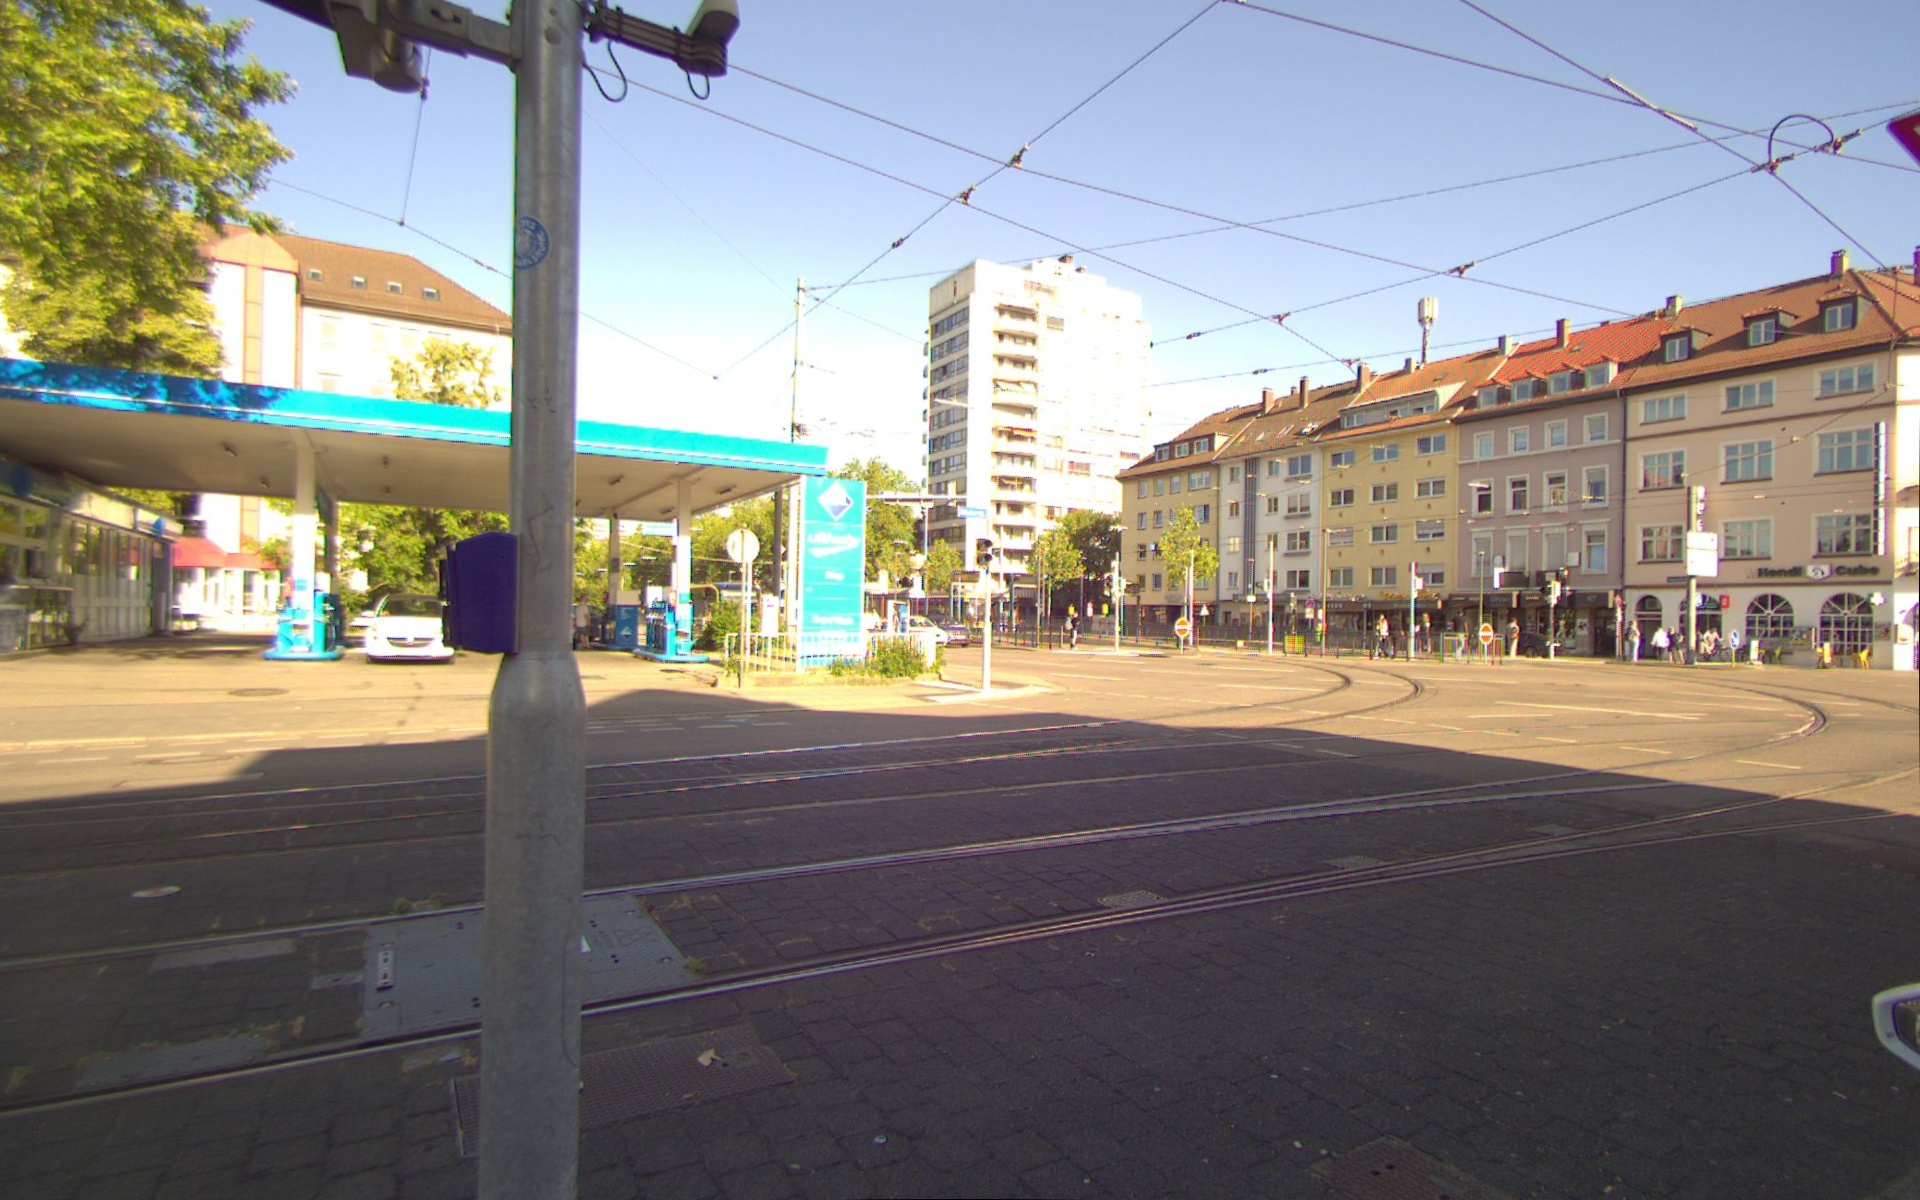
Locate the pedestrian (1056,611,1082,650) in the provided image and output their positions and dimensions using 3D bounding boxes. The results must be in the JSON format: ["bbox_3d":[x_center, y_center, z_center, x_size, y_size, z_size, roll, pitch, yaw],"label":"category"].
[{"bbox_3d":[4.752,1.323,43.690,0.788,1.632,0.766,1,-1,-36],"label":"pedestrian"}]

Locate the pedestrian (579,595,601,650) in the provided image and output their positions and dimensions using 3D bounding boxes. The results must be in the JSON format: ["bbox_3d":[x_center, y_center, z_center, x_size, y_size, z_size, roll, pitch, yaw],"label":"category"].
[{"bbox_3d":[-11.810,0.708,32.058,0.579,1.715,0.756,1,-1,-25],"label":"pedestrian"}]

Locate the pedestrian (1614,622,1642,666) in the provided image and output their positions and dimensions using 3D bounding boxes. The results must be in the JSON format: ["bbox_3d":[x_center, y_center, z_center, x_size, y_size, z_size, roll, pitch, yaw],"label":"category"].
[{"bbox_3d":[26.424,1.729,39.736,0.621,1.704,0.737,1,-1,-30],"label":"pedestrian"}]

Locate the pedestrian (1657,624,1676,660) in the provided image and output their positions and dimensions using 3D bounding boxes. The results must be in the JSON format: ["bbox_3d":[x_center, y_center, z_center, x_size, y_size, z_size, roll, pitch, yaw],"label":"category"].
[{"bbox_3d":[33.904,2.024,48.181,0.731,1.704,0.626,0,-1,35],"label":"pedestrian"}]

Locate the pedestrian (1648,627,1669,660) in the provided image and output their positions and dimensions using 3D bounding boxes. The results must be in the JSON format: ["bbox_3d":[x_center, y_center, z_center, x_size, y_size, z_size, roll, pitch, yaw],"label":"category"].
[{"bbox_3d":[35.834,2.220,51.548,0.623,1.704,0.734,1,-1,-41],"label":"pedestrian"}]

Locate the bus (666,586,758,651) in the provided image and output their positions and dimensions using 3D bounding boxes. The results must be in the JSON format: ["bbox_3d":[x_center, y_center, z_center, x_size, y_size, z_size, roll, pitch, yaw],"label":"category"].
[{"bbox_3d":[-14.892,0.954,59.605,2.748,3.504,9.364,0,1,-31],"label":"bus"}]

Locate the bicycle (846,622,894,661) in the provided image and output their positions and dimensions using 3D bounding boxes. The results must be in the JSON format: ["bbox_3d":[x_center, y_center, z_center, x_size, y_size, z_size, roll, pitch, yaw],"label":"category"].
[{"bbox_3d":[-3.036,1.383,33.756,0.736,1.239,1.909,1,-1,-37],"label":"bicycle"}]

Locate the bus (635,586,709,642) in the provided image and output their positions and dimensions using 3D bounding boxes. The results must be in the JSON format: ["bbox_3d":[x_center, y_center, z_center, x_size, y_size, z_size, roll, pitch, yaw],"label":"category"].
[{"bbox_3d":[-19.402,0.827,67.360,2.755,3.504,8.571,0,1,-30],"label":"bus"}]

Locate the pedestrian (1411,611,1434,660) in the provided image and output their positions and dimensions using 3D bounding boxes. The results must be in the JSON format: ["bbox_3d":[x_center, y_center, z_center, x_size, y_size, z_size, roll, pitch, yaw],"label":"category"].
[{"bbox_3d":[17.318,1.331,37.600,0.553,1.810,0.557,1,-1,-30],"label":"pedestrian"}]

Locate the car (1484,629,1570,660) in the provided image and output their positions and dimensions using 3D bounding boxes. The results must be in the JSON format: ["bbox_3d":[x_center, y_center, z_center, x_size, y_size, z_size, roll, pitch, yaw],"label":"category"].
[{"bbox_3d":[30.890,2.403,54.857,1.795,1.511,3.715,2,0,-27],"label":"car"}]

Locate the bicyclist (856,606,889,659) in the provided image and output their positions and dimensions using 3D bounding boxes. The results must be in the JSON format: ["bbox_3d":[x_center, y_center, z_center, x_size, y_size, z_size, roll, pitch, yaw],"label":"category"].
[{"bbox_3d":[-2.955,1.078,33.838,0.727,1.735,0.932,1,-1,-37],"label":"bicyclist"}]

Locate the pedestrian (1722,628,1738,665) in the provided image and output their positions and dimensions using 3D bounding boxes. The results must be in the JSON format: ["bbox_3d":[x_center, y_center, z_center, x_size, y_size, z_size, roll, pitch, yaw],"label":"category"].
[{"bbox_3d":[26.974,1.632,35.199,0.447,1.270,0.361,1,-1,-41],"label":"pedestrian"}]

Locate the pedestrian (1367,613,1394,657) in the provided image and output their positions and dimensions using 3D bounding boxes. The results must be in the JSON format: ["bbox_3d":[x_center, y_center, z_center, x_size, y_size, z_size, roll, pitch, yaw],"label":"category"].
[{"bbox_3d":[15.890,1.323,37.929,0.565,1.657,0.737,1,-1,-30],"label":"pedestrian"}]

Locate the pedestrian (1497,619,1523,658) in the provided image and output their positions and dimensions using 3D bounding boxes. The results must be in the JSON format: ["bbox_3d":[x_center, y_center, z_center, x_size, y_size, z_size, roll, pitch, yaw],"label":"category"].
[{"bbox_3d":[24.183,1.680,44.155,0.621,1.704,0.763,1,-1,-30],"label":"pedestrian"}]

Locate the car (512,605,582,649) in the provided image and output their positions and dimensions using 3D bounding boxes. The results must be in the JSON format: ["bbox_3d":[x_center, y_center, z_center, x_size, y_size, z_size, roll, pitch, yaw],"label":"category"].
[{"bbox_3d":[-13.575,0.855,32.880,1.697,1.360,3.970,1,-1,-28],"label":"car"}]

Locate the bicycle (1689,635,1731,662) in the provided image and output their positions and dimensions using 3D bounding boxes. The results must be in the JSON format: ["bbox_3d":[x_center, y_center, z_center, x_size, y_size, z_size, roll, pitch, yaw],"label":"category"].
[{"bbox_3d":[37.876,2.455,50.739,1.693,1.293,0.385,0,-1,44],"label":"bicycle"}]

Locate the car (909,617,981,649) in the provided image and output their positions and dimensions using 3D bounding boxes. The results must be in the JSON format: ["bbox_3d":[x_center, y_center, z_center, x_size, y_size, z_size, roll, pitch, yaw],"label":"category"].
[{"bbox_3d":[-0.773,1.531,47.872,1.697,1.439,4.149,1,-1,-28],"label":"car"}]

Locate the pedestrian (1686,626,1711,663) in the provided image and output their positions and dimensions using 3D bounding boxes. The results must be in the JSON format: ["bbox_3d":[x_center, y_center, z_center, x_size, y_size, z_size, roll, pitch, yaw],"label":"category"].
[{"bbox_3d":[34.477,2.064,46.886,0.728,1.704,0.629,1,-1,13],"label":"pedestrian"}]

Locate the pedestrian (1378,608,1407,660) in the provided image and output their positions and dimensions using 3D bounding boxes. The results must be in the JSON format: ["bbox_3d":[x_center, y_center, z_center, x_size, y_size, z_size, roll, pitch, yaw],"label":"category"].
[{"bbox_3d":[15.855,1.248,36.843,0.769,1.874,0.625,1,-1,-30],"label":"pedestrian"}]

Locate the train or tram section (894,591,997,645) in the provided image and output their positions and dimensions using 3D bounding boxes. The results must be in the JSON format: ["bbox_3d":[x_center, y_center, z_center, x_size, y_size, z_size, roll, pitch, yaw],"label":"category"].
[{"bbox_3d":[-1.381,1.302,80.725,2.926,3.986,11.589,2,0,-30],"label":"train or tram section"}]

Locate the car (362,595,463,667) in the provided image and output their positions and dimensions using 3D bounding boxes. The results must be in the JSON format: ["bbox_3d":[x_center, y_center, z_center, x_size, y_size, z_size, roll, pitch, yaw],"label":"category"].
[{"bbox_3d":[-12.355,0.669,22.559,1.793,1.461,3.966,1,-1,-31],"label":"car"}]

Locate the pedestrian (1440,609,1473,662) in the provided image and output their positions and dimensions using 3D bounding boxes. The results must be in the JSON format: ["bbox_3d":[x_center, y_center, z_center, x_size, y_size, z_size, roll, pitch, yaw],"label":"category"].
[{"bbox_3d":[17.830,1.265,36.068,0.714,1.853,0.763,1,-1,-30],"label":"pedestrian"}]

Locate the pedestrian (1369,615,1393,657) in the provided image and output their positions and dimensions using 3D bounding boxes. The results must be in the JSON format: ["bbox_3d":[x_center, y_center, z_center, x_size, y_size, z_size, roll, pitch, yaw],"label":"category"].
[{"bbox_3d":[16.463,1.393,39.282,0.553,1.602,0.695,1,-1,-30],"label":"pedestrian"}]

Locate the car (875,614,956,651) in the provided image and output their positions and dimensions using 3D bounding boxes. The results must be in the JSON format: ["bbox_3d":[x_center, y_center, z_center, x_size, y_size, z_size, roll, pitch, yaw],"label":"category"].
[{"bbox_3d":[-2.023,1.398,44.288,1.724,1.518,3.929,1,-1,-35],"label":"car"}]
